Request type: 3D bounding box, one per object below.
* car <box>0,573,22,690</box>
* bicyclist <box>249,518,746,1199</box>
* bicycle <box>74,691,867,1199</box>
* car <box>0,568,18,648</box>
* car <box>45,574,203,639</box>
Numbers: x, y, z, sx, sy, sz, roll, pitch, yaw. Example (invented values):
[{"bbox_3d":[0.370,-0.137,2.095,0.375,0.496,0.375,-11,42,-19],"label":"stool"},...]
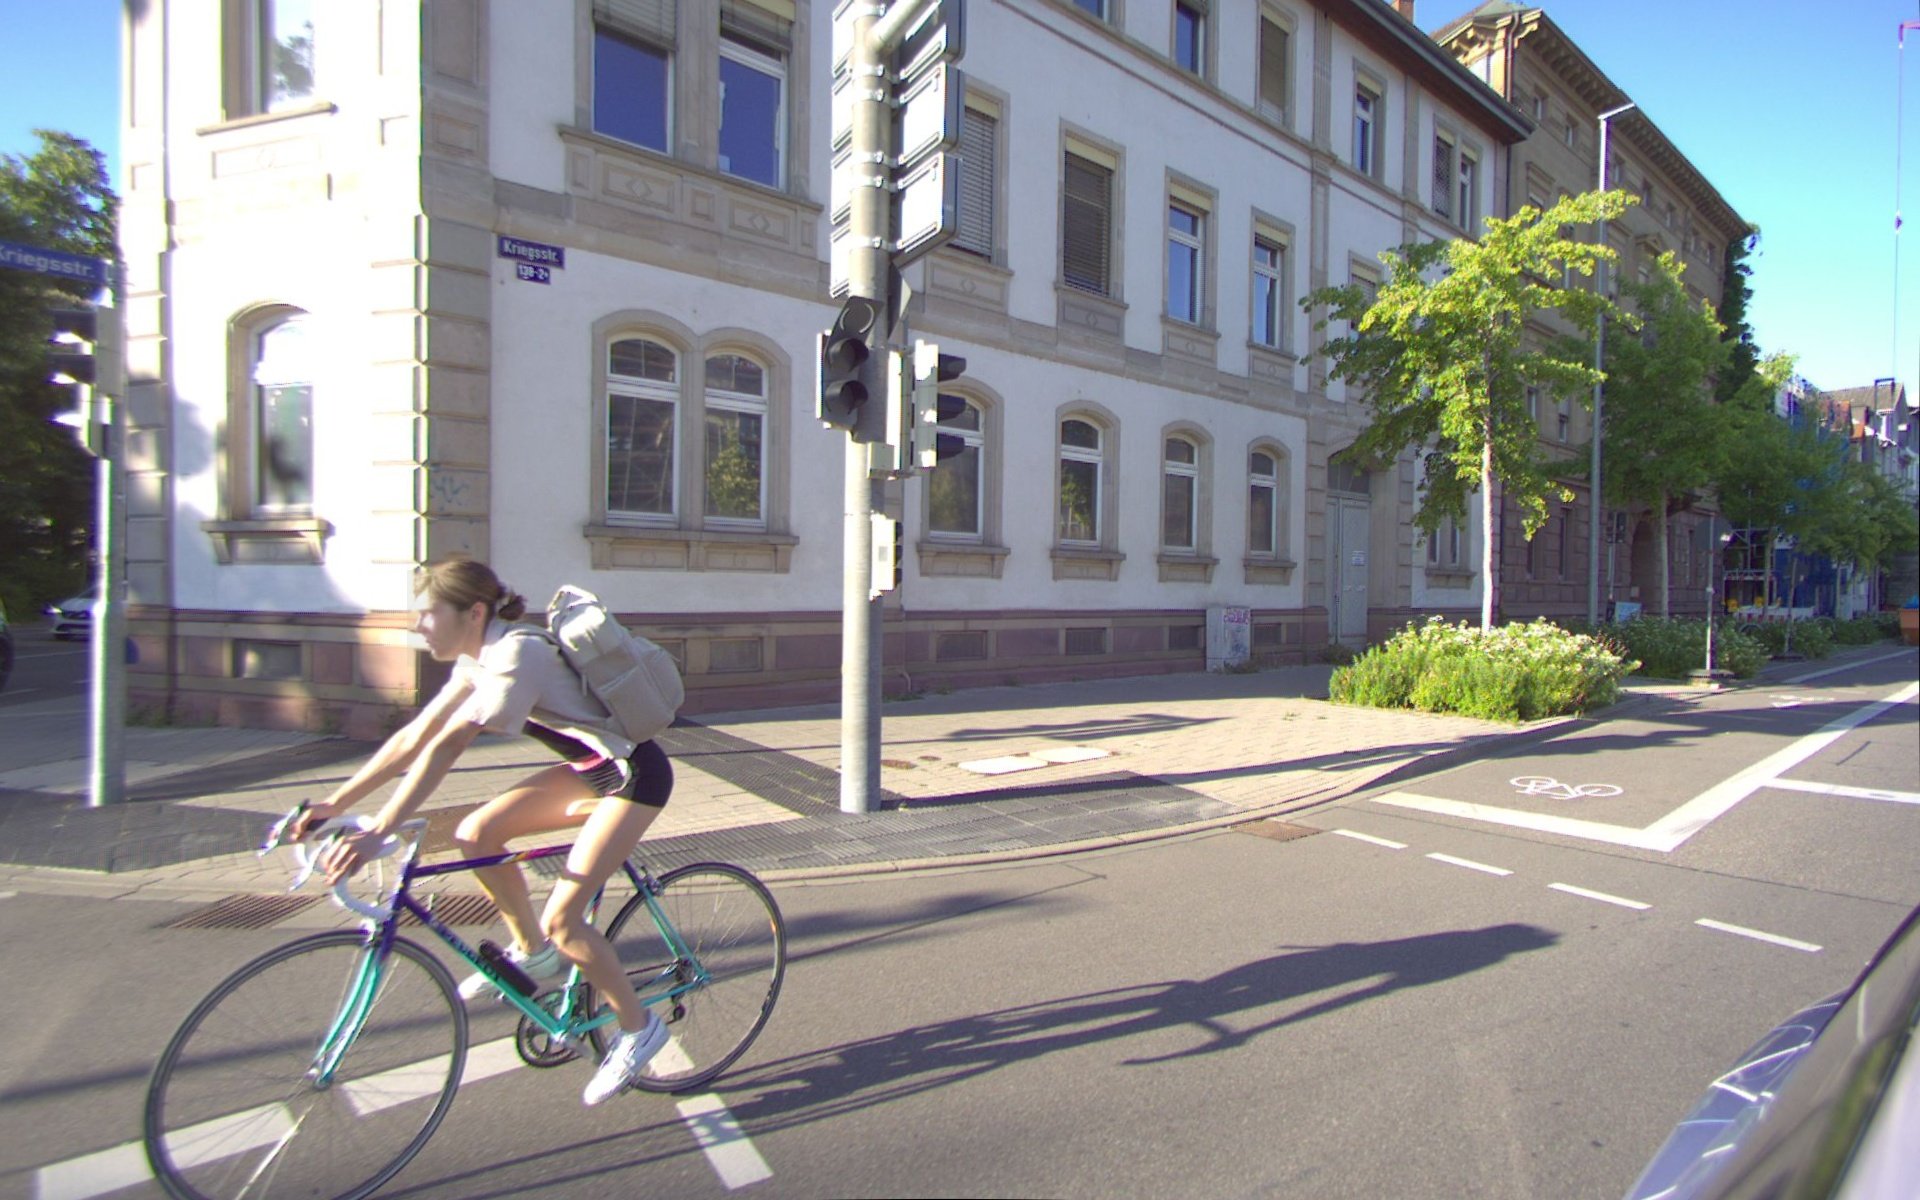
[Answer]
[{"bbox_3d":[-12.988,0.398,11.542,1.863,1.547,4.067,3,0,-20],"label":"car"},{"bbox_3d":[-1.181,0.580,2.655,1.062,1.509,0.553,1,0,-41],"label":"bicyclist"},{"bbox_3d":[-1.144,0.871,2.693,1.810,1.111,0.521,0,1,-41],"label":"bicycle"},{"bbox_3d":[-18.694,0.155,17.750,1.702,1.530,3.537,2,1,-16],"label":"car"},{"bbox_3d":[-20.396,0.107,24.868,1.597,1.432,3.658,2,1,-16],"label":"car"}]
